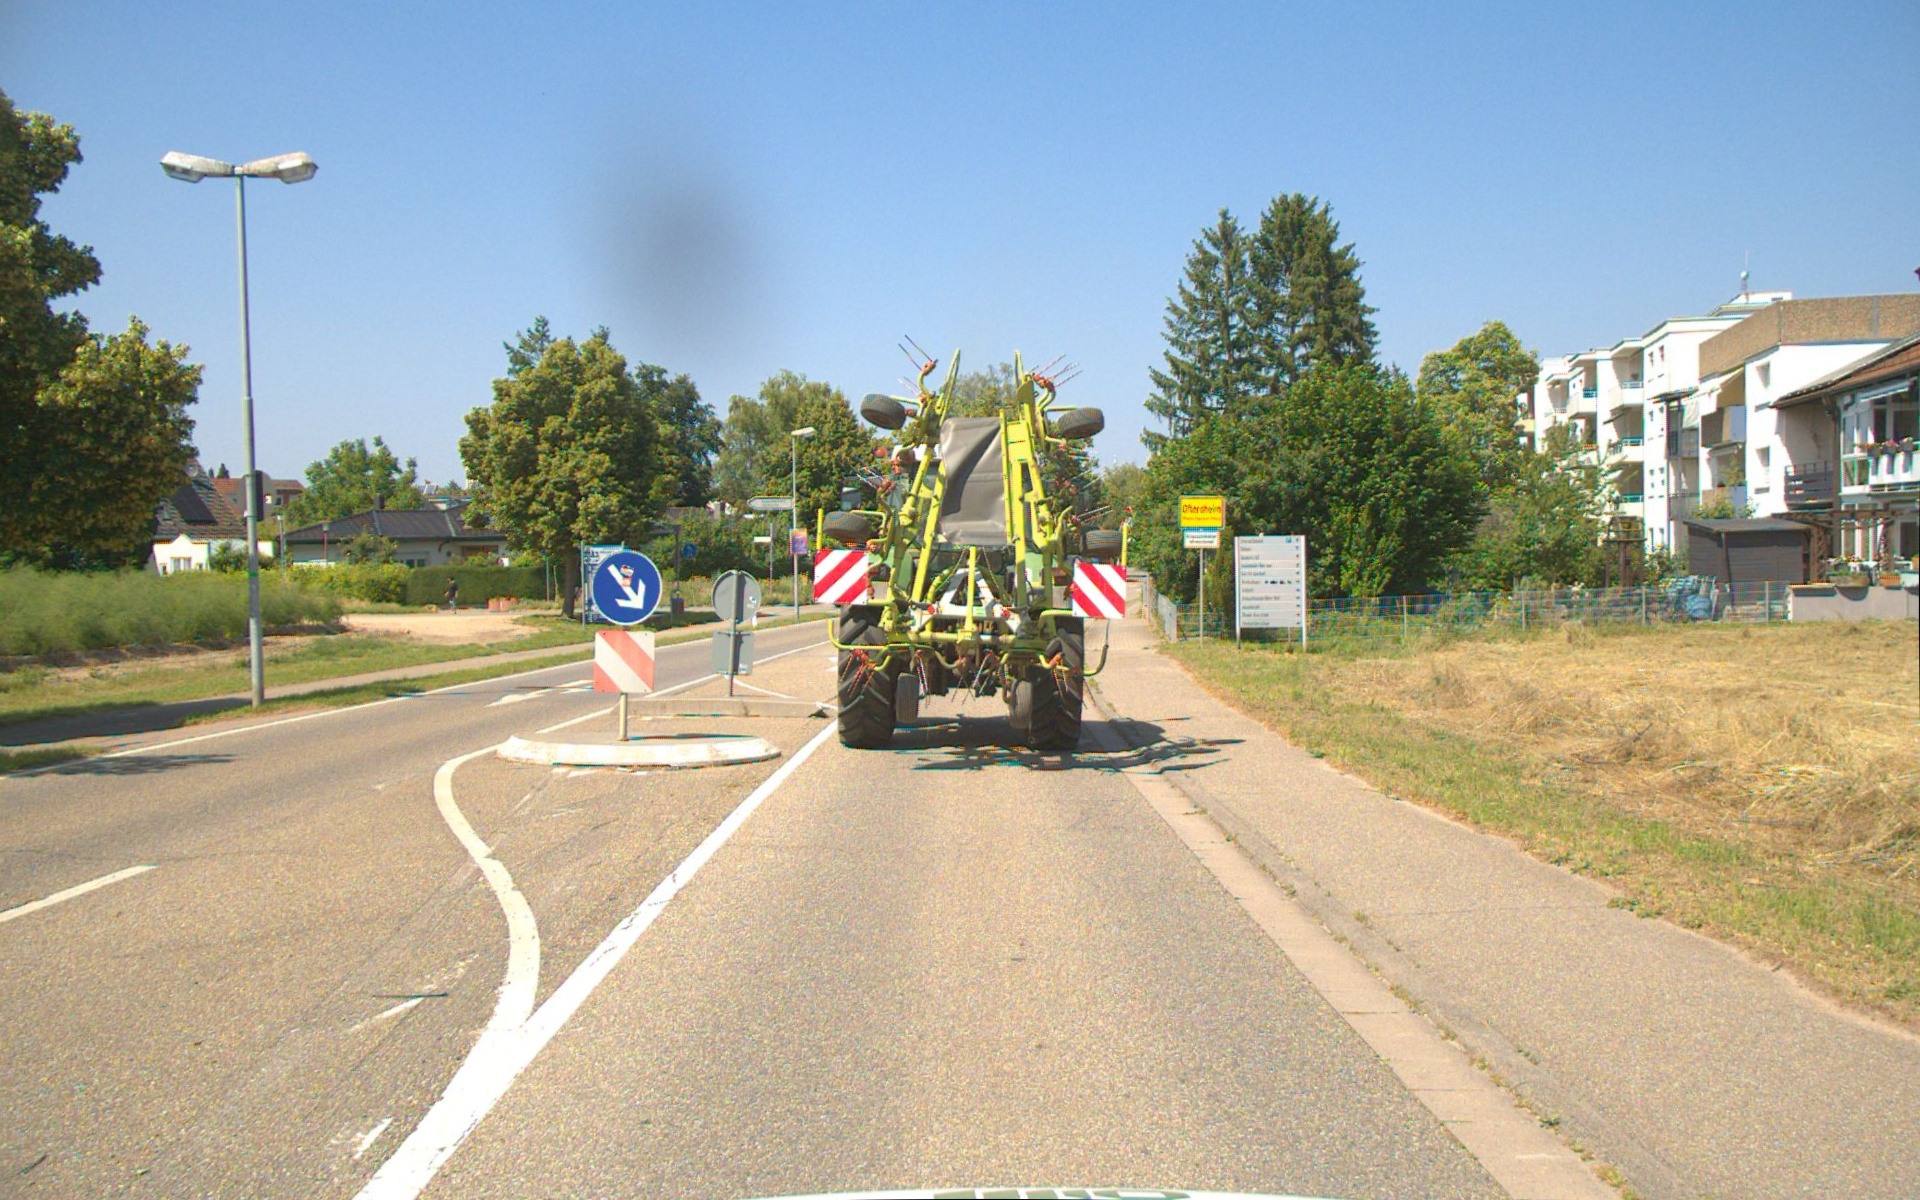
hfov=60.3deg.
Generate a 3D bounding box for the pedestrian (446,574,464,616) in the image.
[{"bbox_3d":[-21.215,-0.211,69.448,0.662,1.746,0.549,0,1,-11],"label":"pedestrian"}]

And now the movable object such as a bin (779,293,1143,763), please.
[{"bbox_3d":[-0.015,-0.593,17.556,2.794,3.603,9.700,0,0,0],"label":"movable object such as a bin"}]
